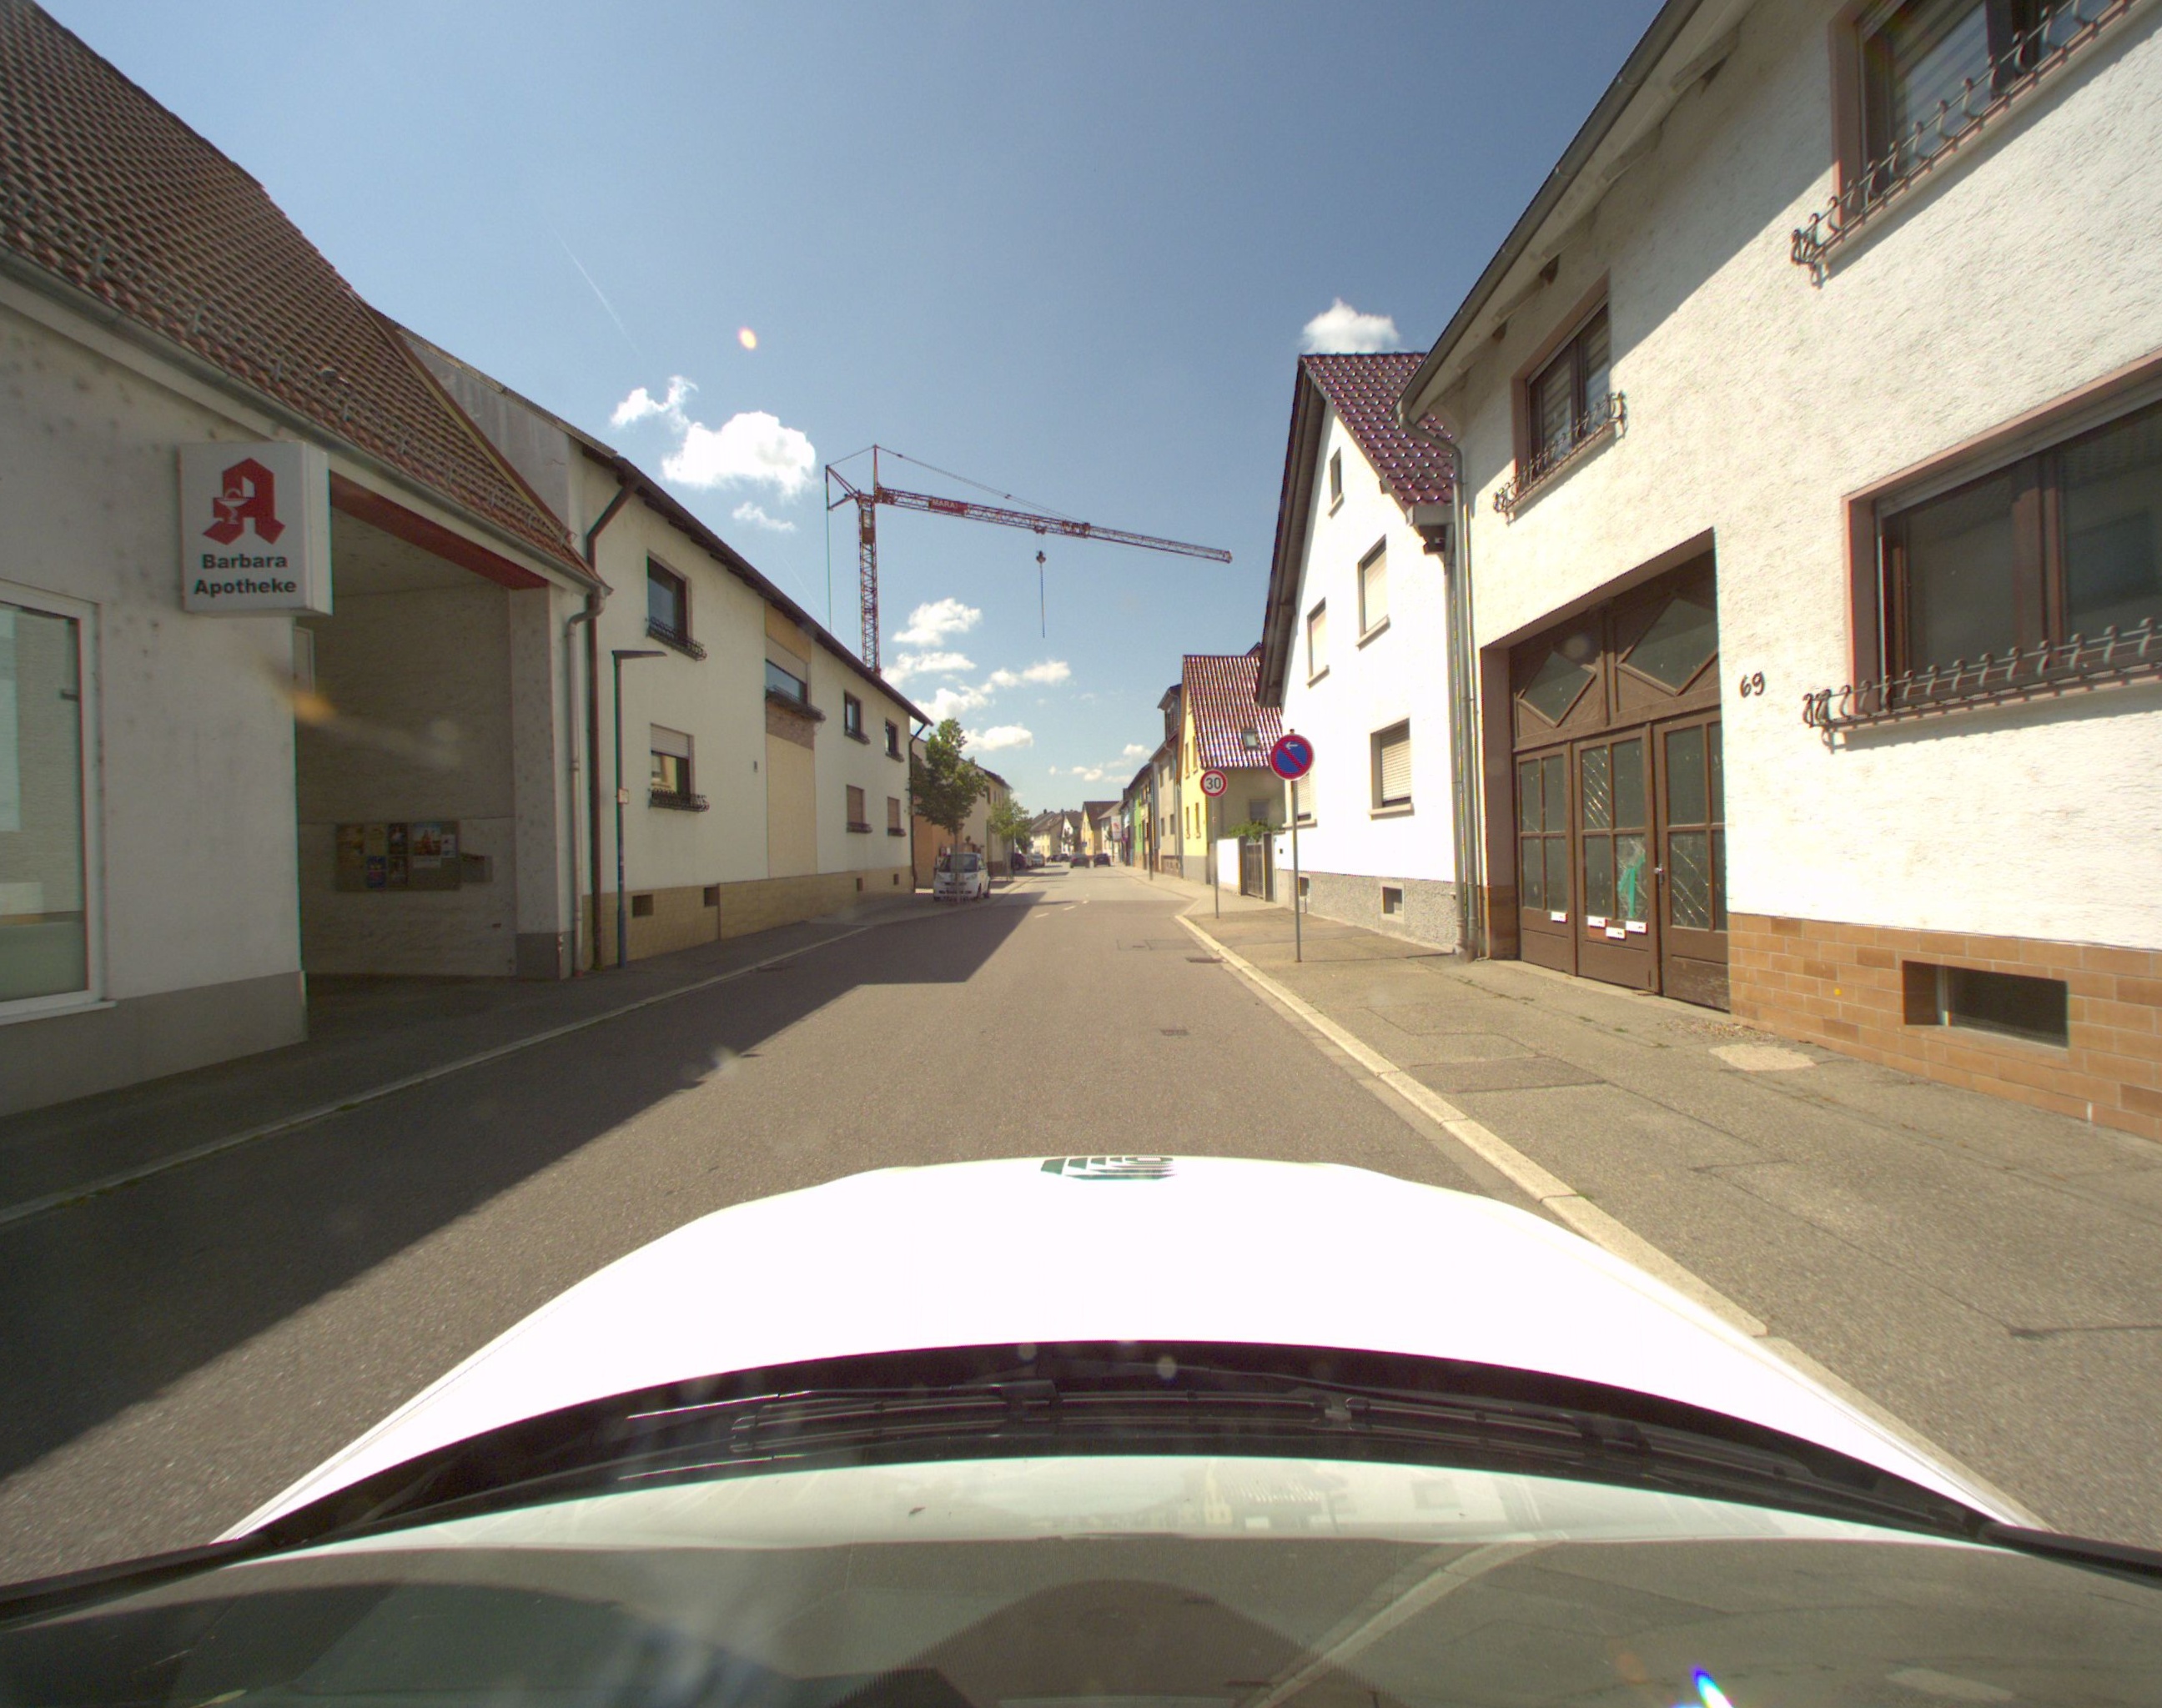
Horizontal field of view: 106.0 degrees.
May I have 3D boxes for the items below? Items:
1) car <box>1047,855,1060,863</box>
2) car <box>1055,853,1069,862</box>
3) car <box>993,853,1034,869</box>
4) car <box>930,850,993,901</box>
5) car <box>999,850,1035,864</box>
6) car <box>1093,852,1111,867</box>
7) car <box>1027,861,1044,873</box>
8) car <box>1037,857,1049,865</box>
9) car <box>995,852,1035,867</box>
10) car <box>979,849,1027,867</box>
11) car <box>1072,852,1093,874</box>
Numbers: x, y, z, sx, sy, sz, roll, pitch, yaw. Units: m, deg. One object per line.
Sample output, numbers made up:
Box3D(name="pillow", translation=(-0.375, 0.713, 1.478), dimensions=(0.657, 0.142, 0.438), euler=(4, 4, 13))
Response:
Box3D(name="car", translation=(-5.120, 0.944, 151.319), dimensions=(1.712, 1.387, 3.690), euler=(-2, 0, -12))
Box3D(name="car", translation=(-3.349, 0.650, 143.777), dimensions=(1.848, 1.562, 3.678), euler=(-2, 0, -12))
Box3D(name="car", translation=(-6.865, 0.698, 83.049), dimensions=(3.887, 1.502, 1.751), euler=(1, 0, 1))
Box3D(name="car", translation=(-3.884, 0.667, 26.935), dimensions=(1.566, 1.561, 2.823), euler=(1, 0, 1))
Box3D(name="car", translation=(-6.941, 0.327, 88.432), dimensions=(3.679, 1.525, 1.672), euler=(1, 0, 0))
Box3D(name="car", translation=(2.274, 0.535, 87.444), dimensions=(1.851, 1.459, 4.587), euler=(-4, 0, 2))
Box3D(name="car", translation=(-5.342, 1.517, 96.705), dimensions=(1.752, 1.411, 3.877), euler=(0, 0, 0))
Box3D(name="car", translation=(-7.676, 1.345, 164.600), dimensions=(1.879, 1.591, 3.983), euler=(-2, 0, -12))
Box3D(name="car", translation=(-6.911, 0.565, 85.317), dimensions=(3.975, 1.441, 1.691), euler=(1, 0, -1))
Box3D(name="car", translation=(-7.152, 0.377, 75.077), dimensions=(4.207, 1.658, 1.783), euler=(1, 0, -1))
Box3D(name="car", translation=(0.102, 0.826, 81.128), dimensions=(1.988, 2.057, 4.372), euler=(-2, 0, -1))
